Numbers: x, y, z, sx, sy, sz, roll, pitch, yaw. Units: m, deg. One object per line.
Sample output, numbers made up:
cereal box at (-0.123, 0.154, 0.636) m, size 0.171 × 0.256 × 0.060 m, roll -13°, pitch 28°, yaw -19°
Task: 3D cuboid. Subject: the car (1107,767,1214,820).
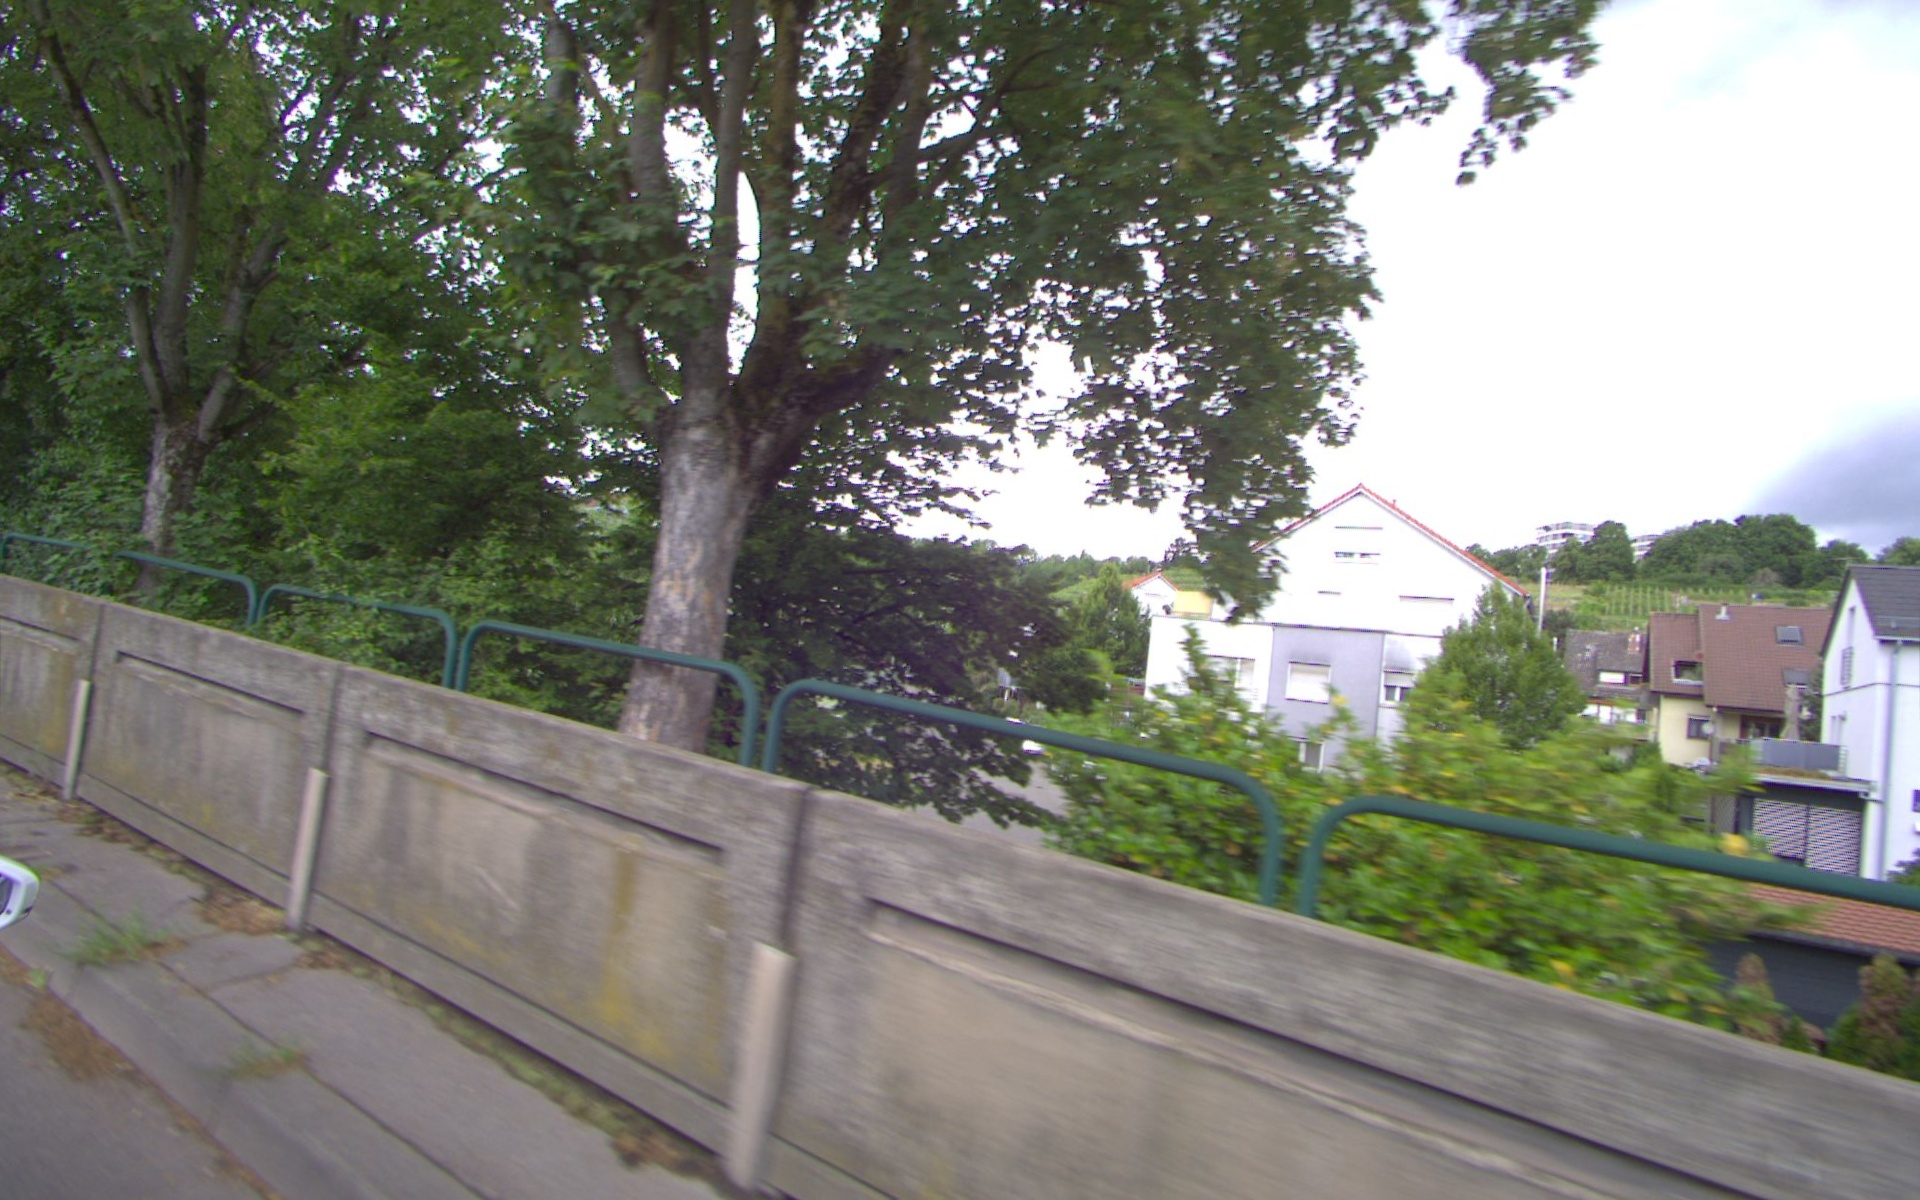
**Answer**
car at (6.866, 6.647, 34.747) m, size 1.682 × 1.141 × 3.353 m, roll 8°, pitch -2°, yaw -32°
